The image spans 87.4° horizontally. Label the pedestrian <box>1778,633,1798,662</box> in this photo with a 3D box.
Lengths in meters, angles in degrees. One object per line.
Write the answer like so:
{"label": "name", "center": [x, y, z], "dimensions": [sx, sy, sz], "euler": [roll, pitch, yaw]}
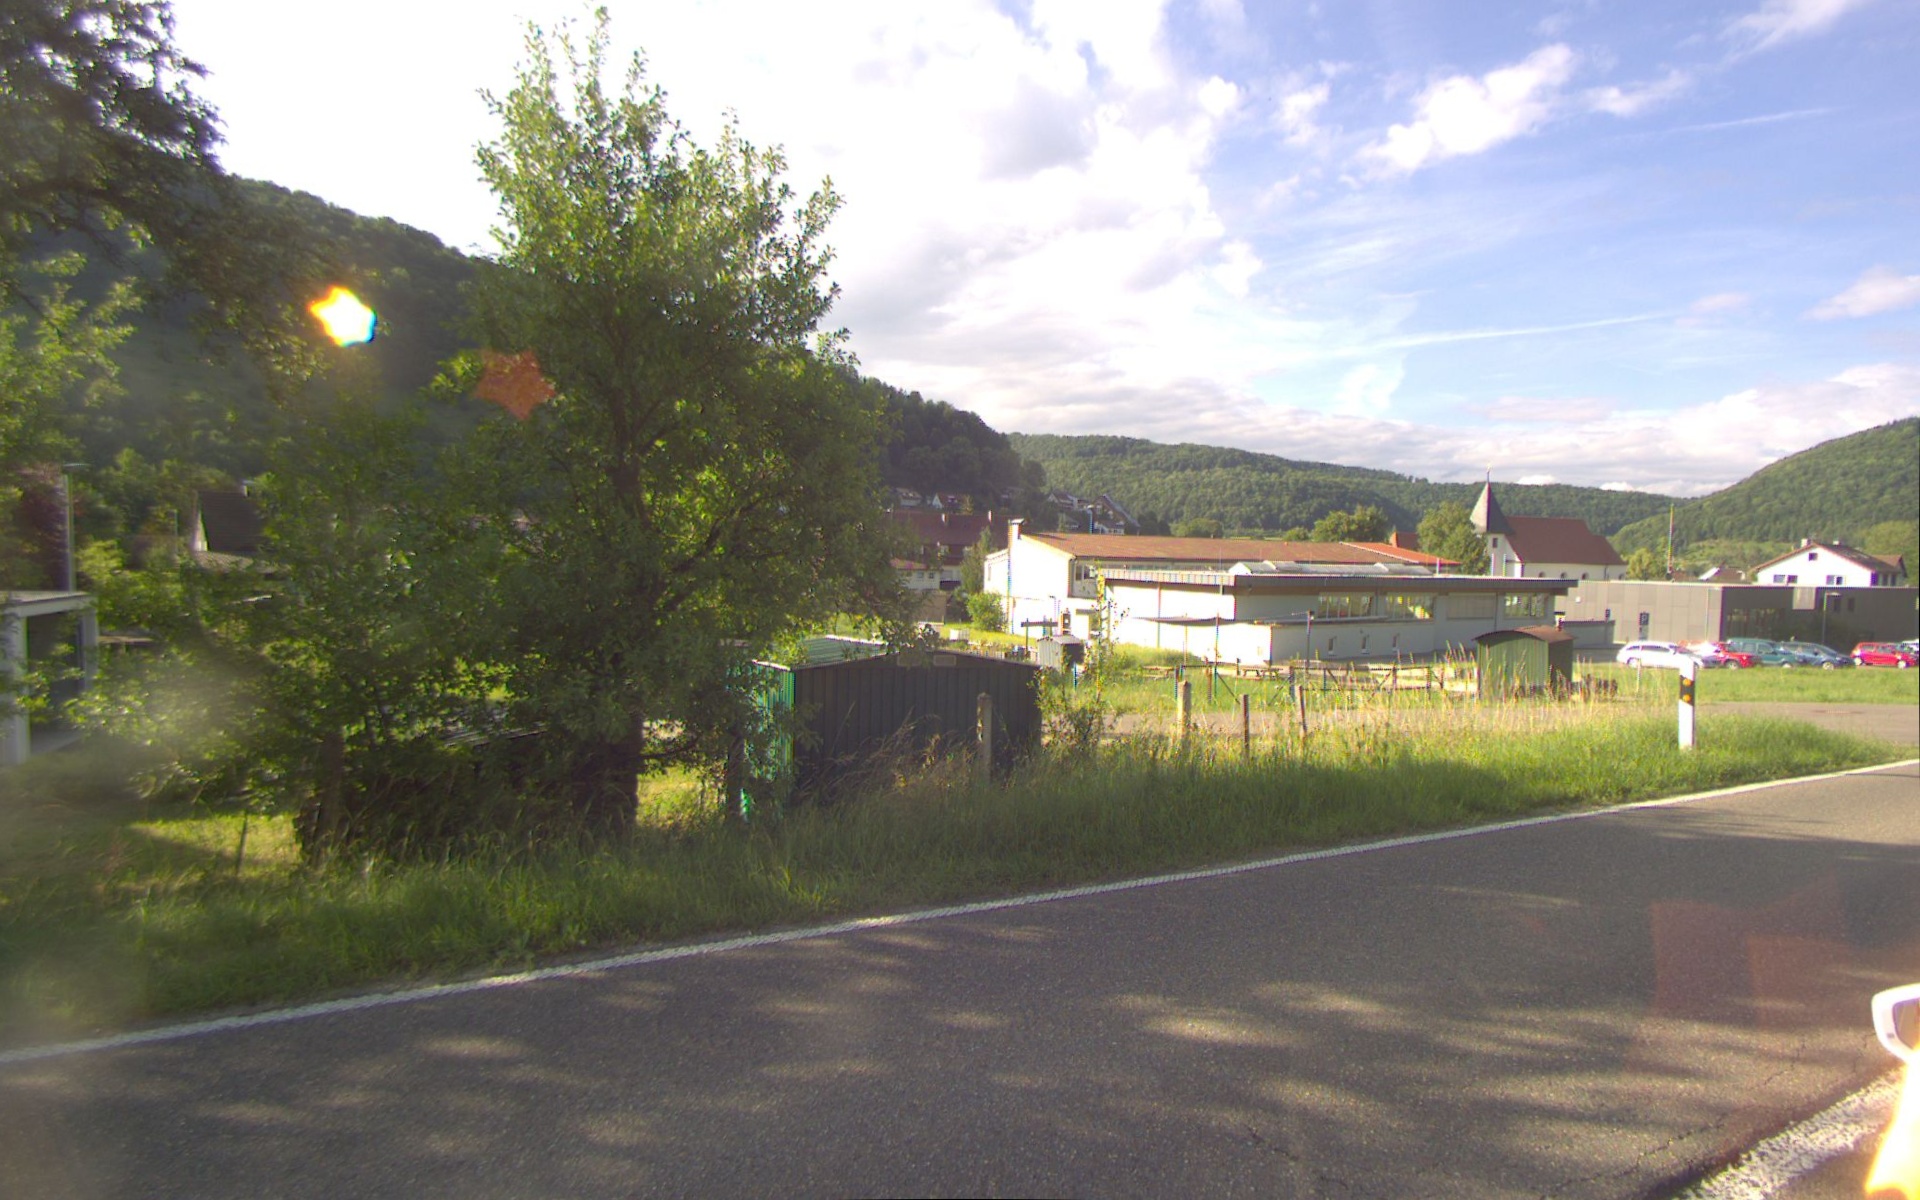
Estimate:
{"label": "pedestrian", "center": [59.048, 3.395, 71.628], "dimensions": [0.962, 2.040, 0.821], "euler": [2, 0, -30]}

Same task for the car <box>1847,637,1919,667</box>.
{"label": "car", "center": [60.435, 3.342, 65.124], "dimensions": [1.978, 1.733, 3.965], "euler": [2, 0, -32]}

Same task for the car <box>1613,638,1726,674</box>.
{"label": "car", "center": [39.103, 3.049, 55.494], "dimensions": [1.978, 1.733, 4.705], "euler": [2, 0, -32]}

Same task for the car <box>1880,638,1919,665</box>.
{"label": "car", "center": [64.446, 3.478, 67.153], "dimensions": [1.978, 1.733, 3.965], "euler": [2, 0, -32]}

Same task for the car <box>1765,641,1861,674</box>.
{"label": "car", "center": [51.350, 3.457, 60.528], "dimensions": [1.978, 1.733, 3.965], "euler": [2, 0, -32]}

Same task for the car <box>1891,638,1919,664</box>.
{"label": "car", "center": [67.324, 3.580, 69.411], "dimensions": [1.978, 1.733, 3.965], "euler": [2, 0, -32]}

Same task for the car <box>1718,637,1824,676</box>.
{"label": "car", "center": [47.297, 3.252, 58.673], "dimensions": [1.978, 2.034, 4.382], "euler": [2, 0, -32]}

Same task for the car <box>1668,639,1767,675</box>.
{"label": "car", "center": [42.204, 3.148, 56.022], "dimensions": [1.978, 1.733, 3.965], "euler": [2, 0, -32]}

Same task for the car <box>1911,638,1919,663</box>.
{"label": "car", "center": [70.166, 3.677, 70.975], "dimensions": [1.978, 1.733, 3.965], "euler": [2, 0, -32]}
